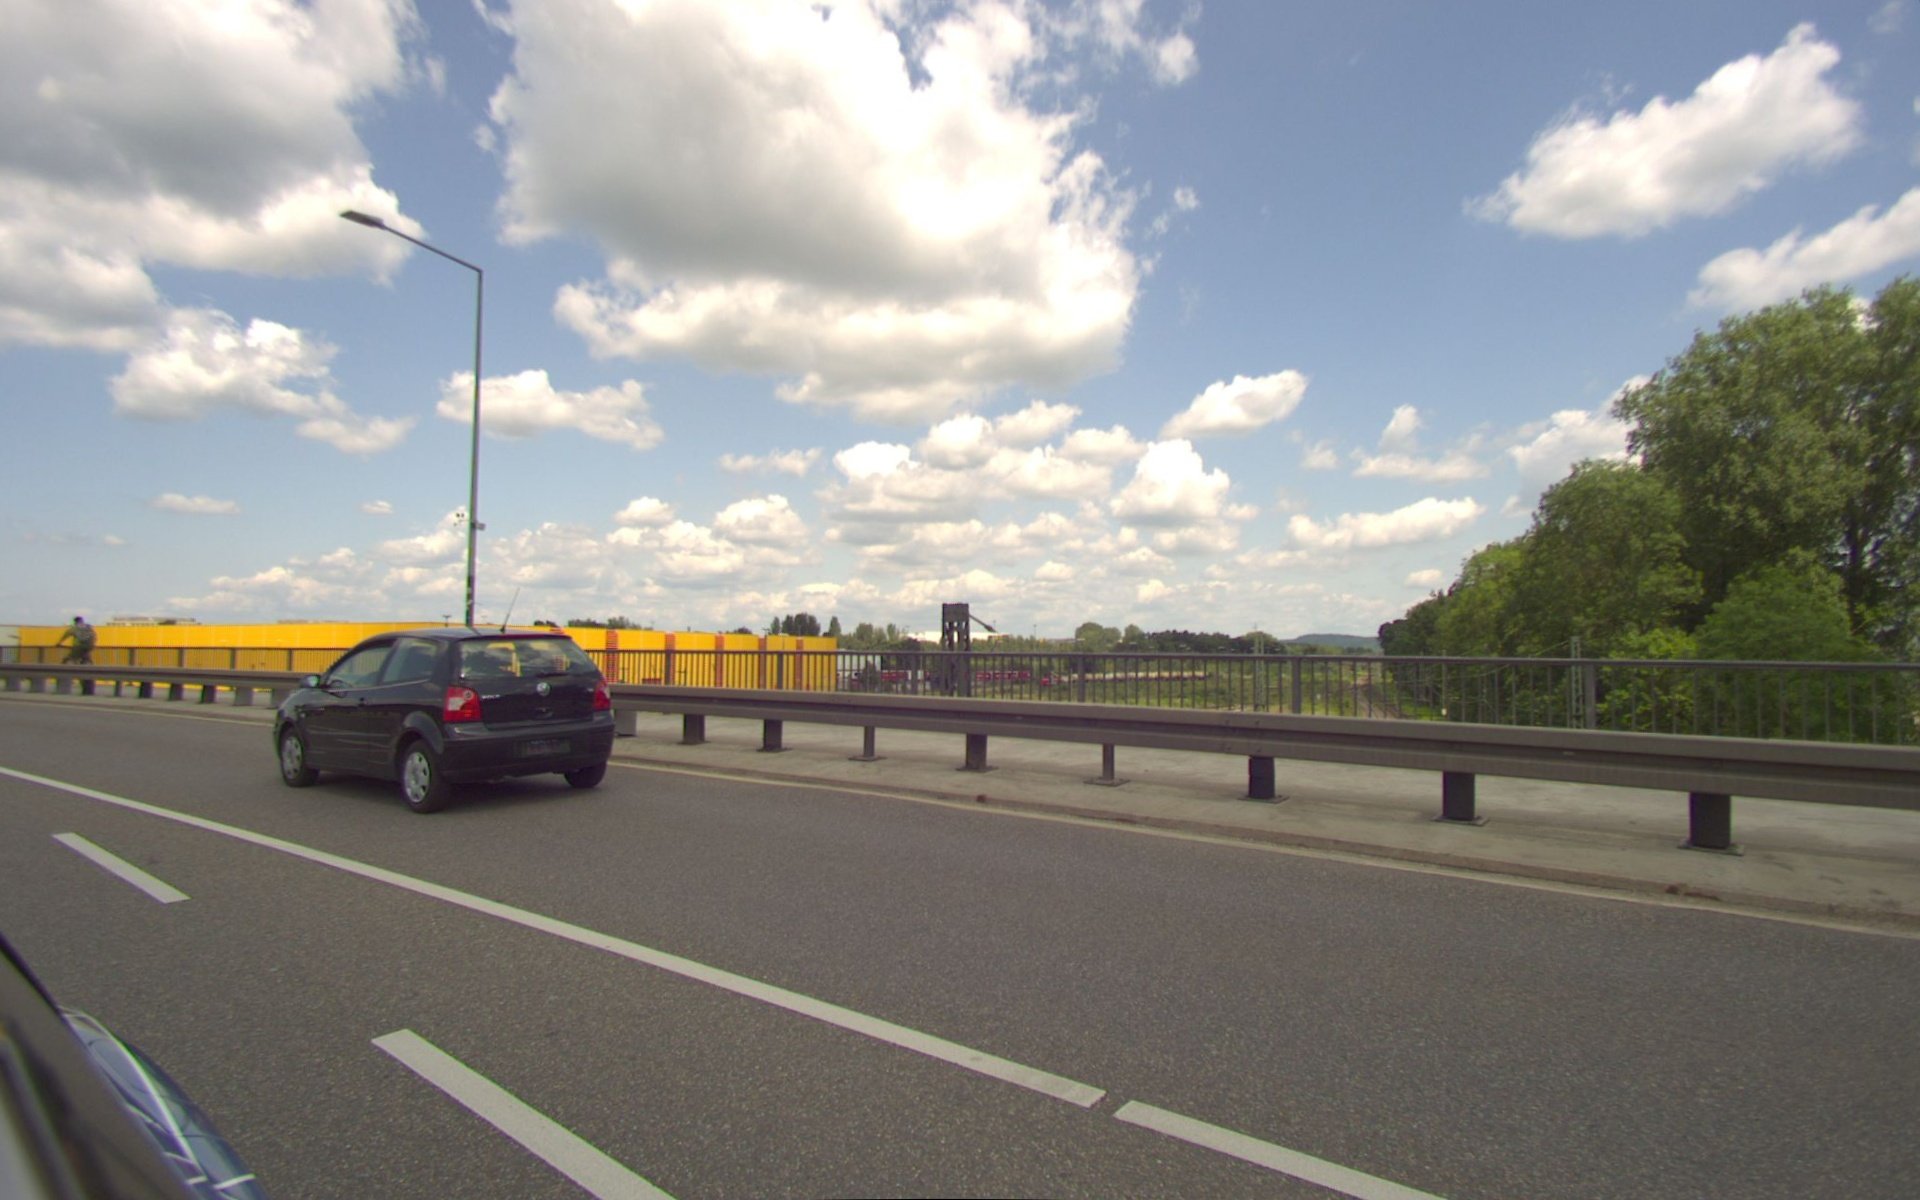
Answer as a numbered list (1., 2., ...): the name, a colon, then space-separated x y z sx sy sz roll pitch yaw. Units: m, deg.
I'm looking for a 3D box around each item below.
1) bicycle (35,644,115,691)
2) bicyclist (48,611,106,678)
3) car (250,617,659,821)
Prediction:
1. bicycle: -21.866 1.651 24.998 2.105 1.103 0.764 -1 -2 28
2. bicyclist: -21.777 1.095 24.971 0.943 1.614 0.762 -1 -2 27
3. car: -4.735 0.934 9.298 3.919 1.463 1.798 -2 -1 37
